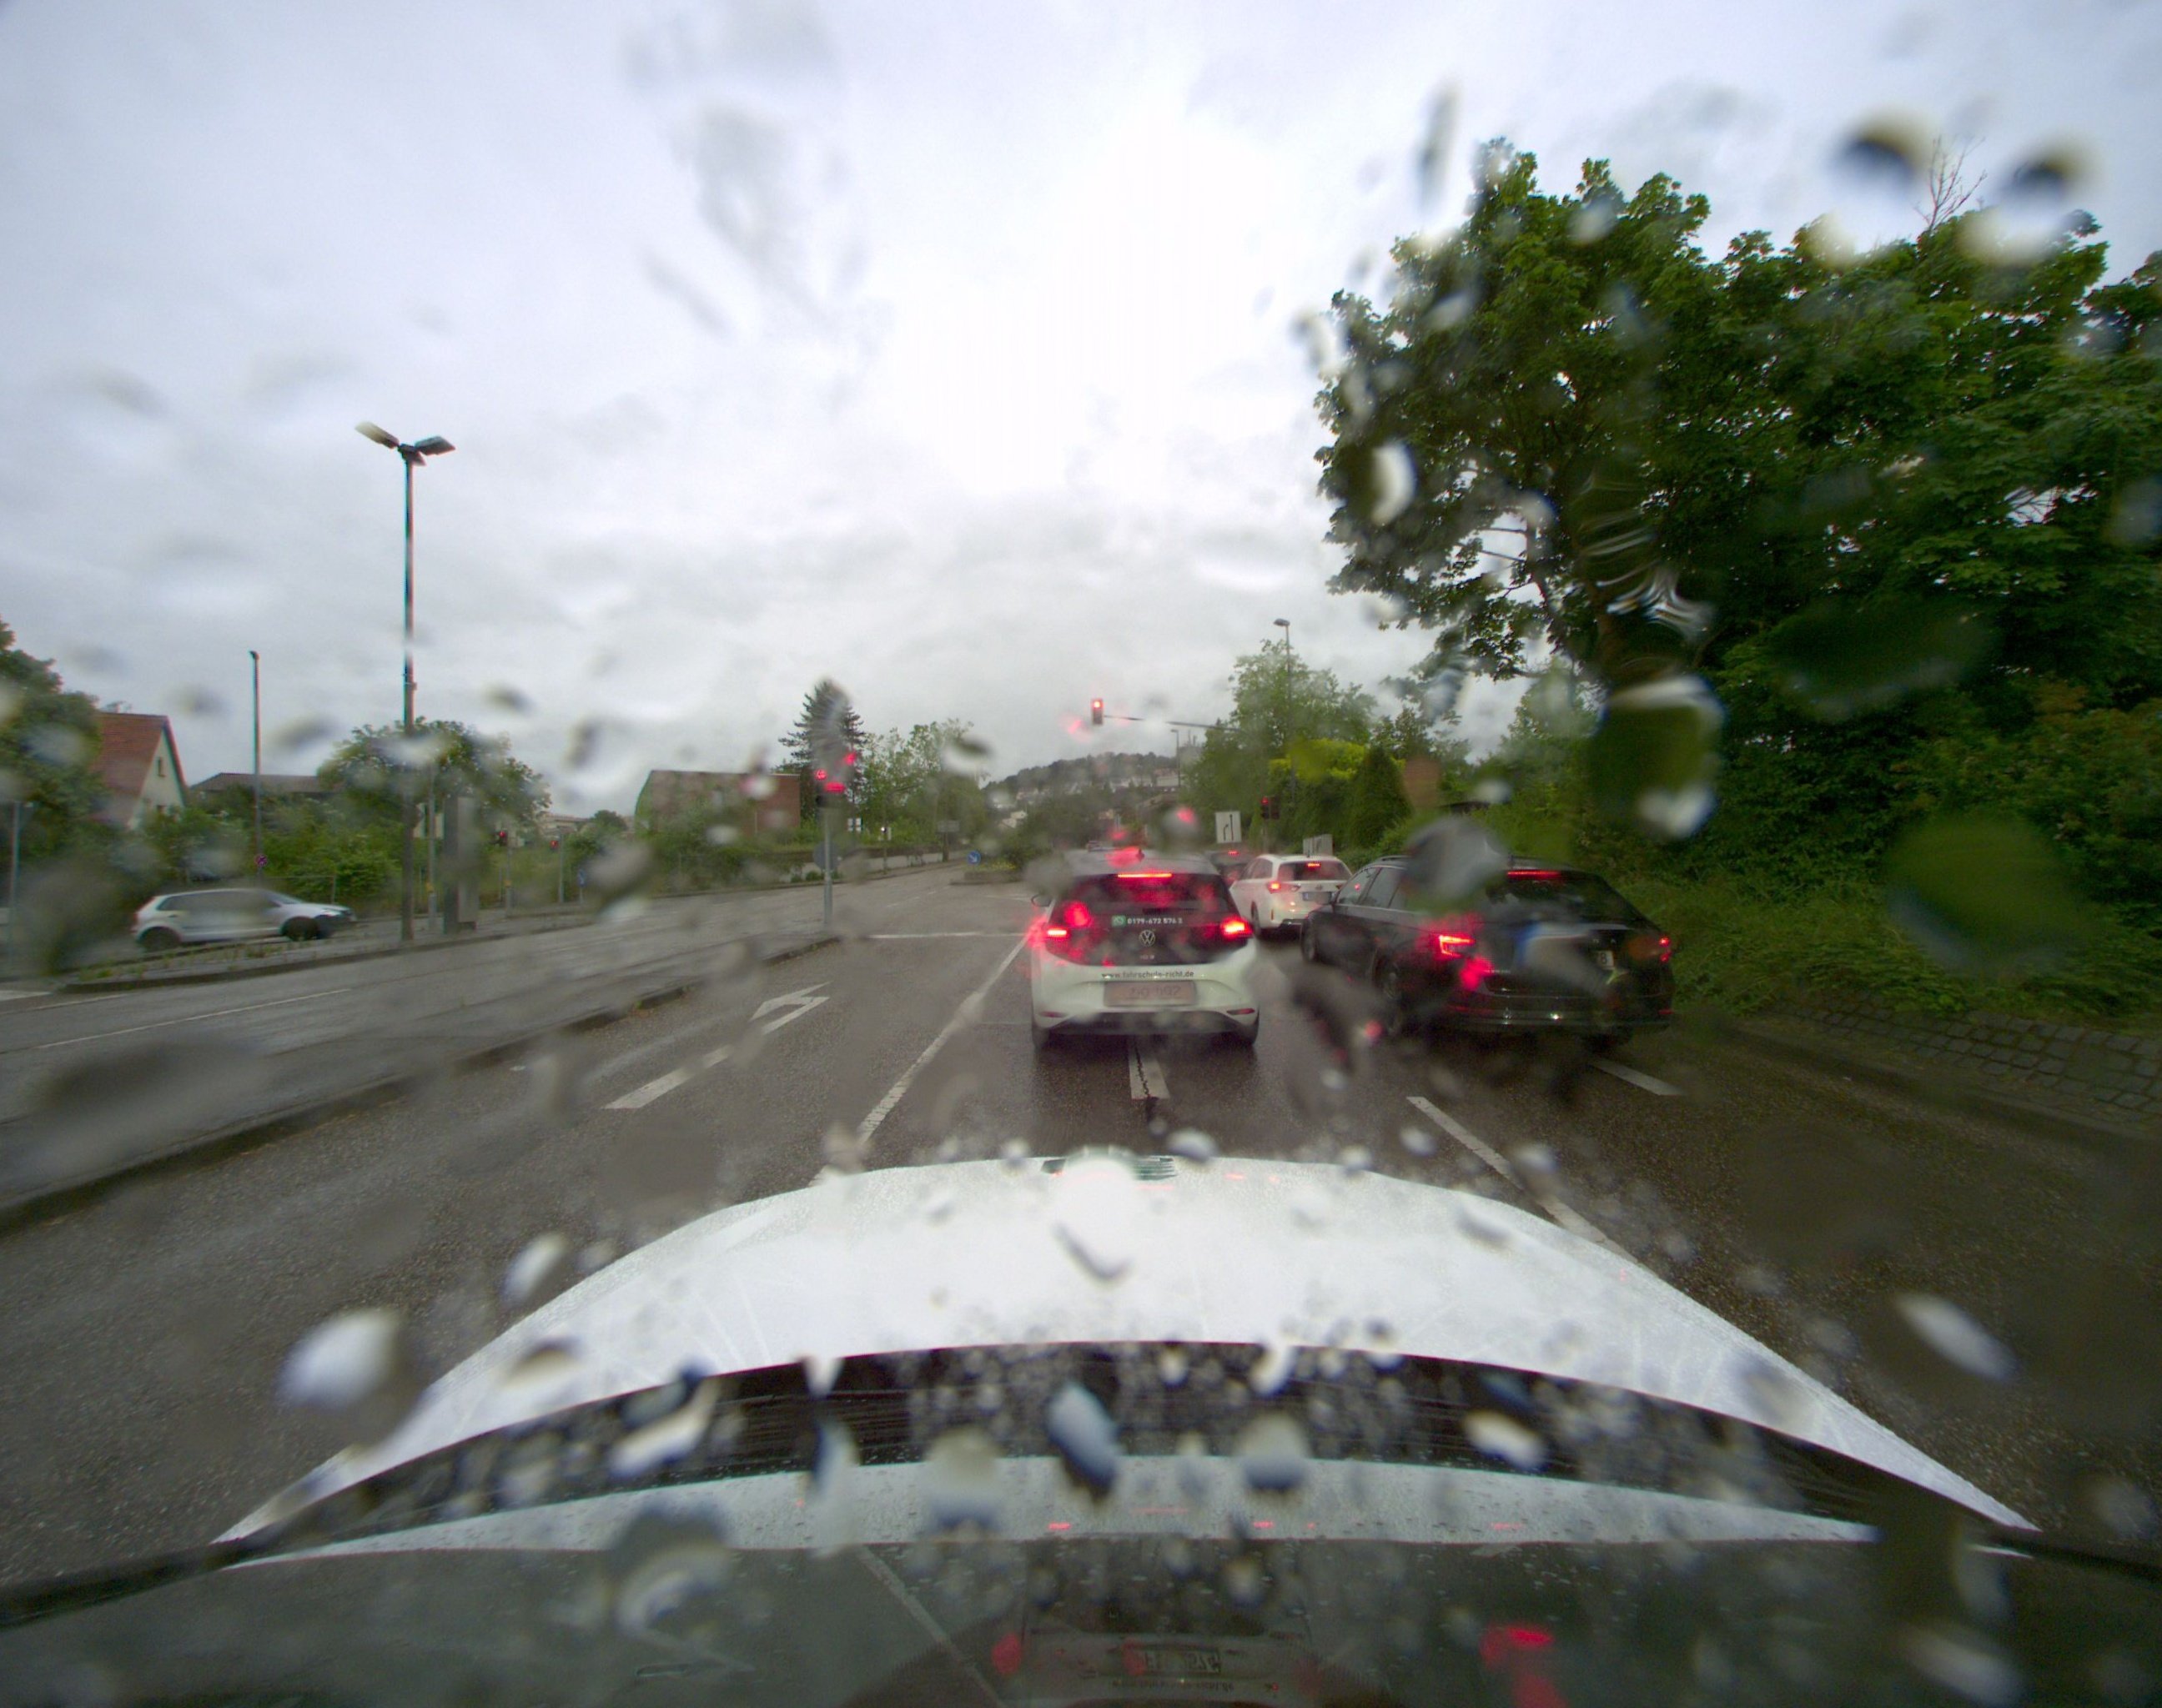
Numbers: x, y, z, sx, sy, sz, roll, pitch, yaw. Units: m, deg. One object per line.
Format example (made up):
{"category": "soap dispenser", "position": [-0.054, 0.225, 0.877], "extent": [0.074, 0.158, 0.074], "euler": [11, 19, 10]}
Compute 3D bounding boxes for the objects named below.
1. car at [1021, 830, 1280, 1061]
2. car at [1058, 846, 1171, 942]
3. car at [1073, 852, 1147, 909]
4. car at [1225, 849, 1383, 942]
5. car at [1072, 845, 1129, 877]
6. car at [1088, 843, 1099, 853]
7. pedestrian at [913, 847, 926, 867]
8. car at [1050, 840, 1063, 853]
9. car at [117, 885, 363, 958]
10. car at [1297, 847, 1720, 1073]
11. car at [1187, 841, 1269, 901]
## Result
{"category": "car", "position": [0.546, 0.634, 8.068], "extent": [1.831, 1.629, 4.617], "euler": [0, 0, 1]}
{"category": "car", "position": [0.588, 0.638, 15.256], "extent": [1.831, 1.555, 4.176], "euler": [0, 0, 1]}
{"category": "car", "position": [0.759, 0.643, 22.032], "extent": [1.831, 1.400, 3.832], "euler": [0, 0, 1]}
{"category": "car", "position": [3.863, 0.641, 14.838], "extent": [1.831, 1.466, 4.118], "euler": [0, 0, 1]}
{"category": "car", "position": [1.007, 0.310, 39.844], "extent": [1.747, 1.418, 3.765], "euler": [-3, 0, 17]}
{"category": "car", "position": [2.266, -1.038, 145.773], "extent": [1.769, 1.581, 4.002], "euler": [-3, 0, 2]}
{"category": "pedestrian", "position": [-13.144, 0.236, 66.382], "extent": [0.757, 1.568, 0.825], "euler": [-4, 0, 1]}
{"category": "car", "position": [-4.159, -1.259, 140.695], "extent": [1.986, 2.014, 4.002], "euler": [-1, -1, 2]}
{"category": "car", "position": [-21.162, 1.645, 20.721], "extent": [4.009, 1.467, 1.572], "euler": [-2, -1, -28]}
{"category": "car", "position": [3.360, 0.675, 7.498], "extent": [1.830, 1.466, 4.353], "euler": [0, 0, 3]}
{"category": "car", "position": [4.135, 0.460, 23.411], "extent": [1.769, 1.581, 4.002], "euler": [0, 0, 2]}
